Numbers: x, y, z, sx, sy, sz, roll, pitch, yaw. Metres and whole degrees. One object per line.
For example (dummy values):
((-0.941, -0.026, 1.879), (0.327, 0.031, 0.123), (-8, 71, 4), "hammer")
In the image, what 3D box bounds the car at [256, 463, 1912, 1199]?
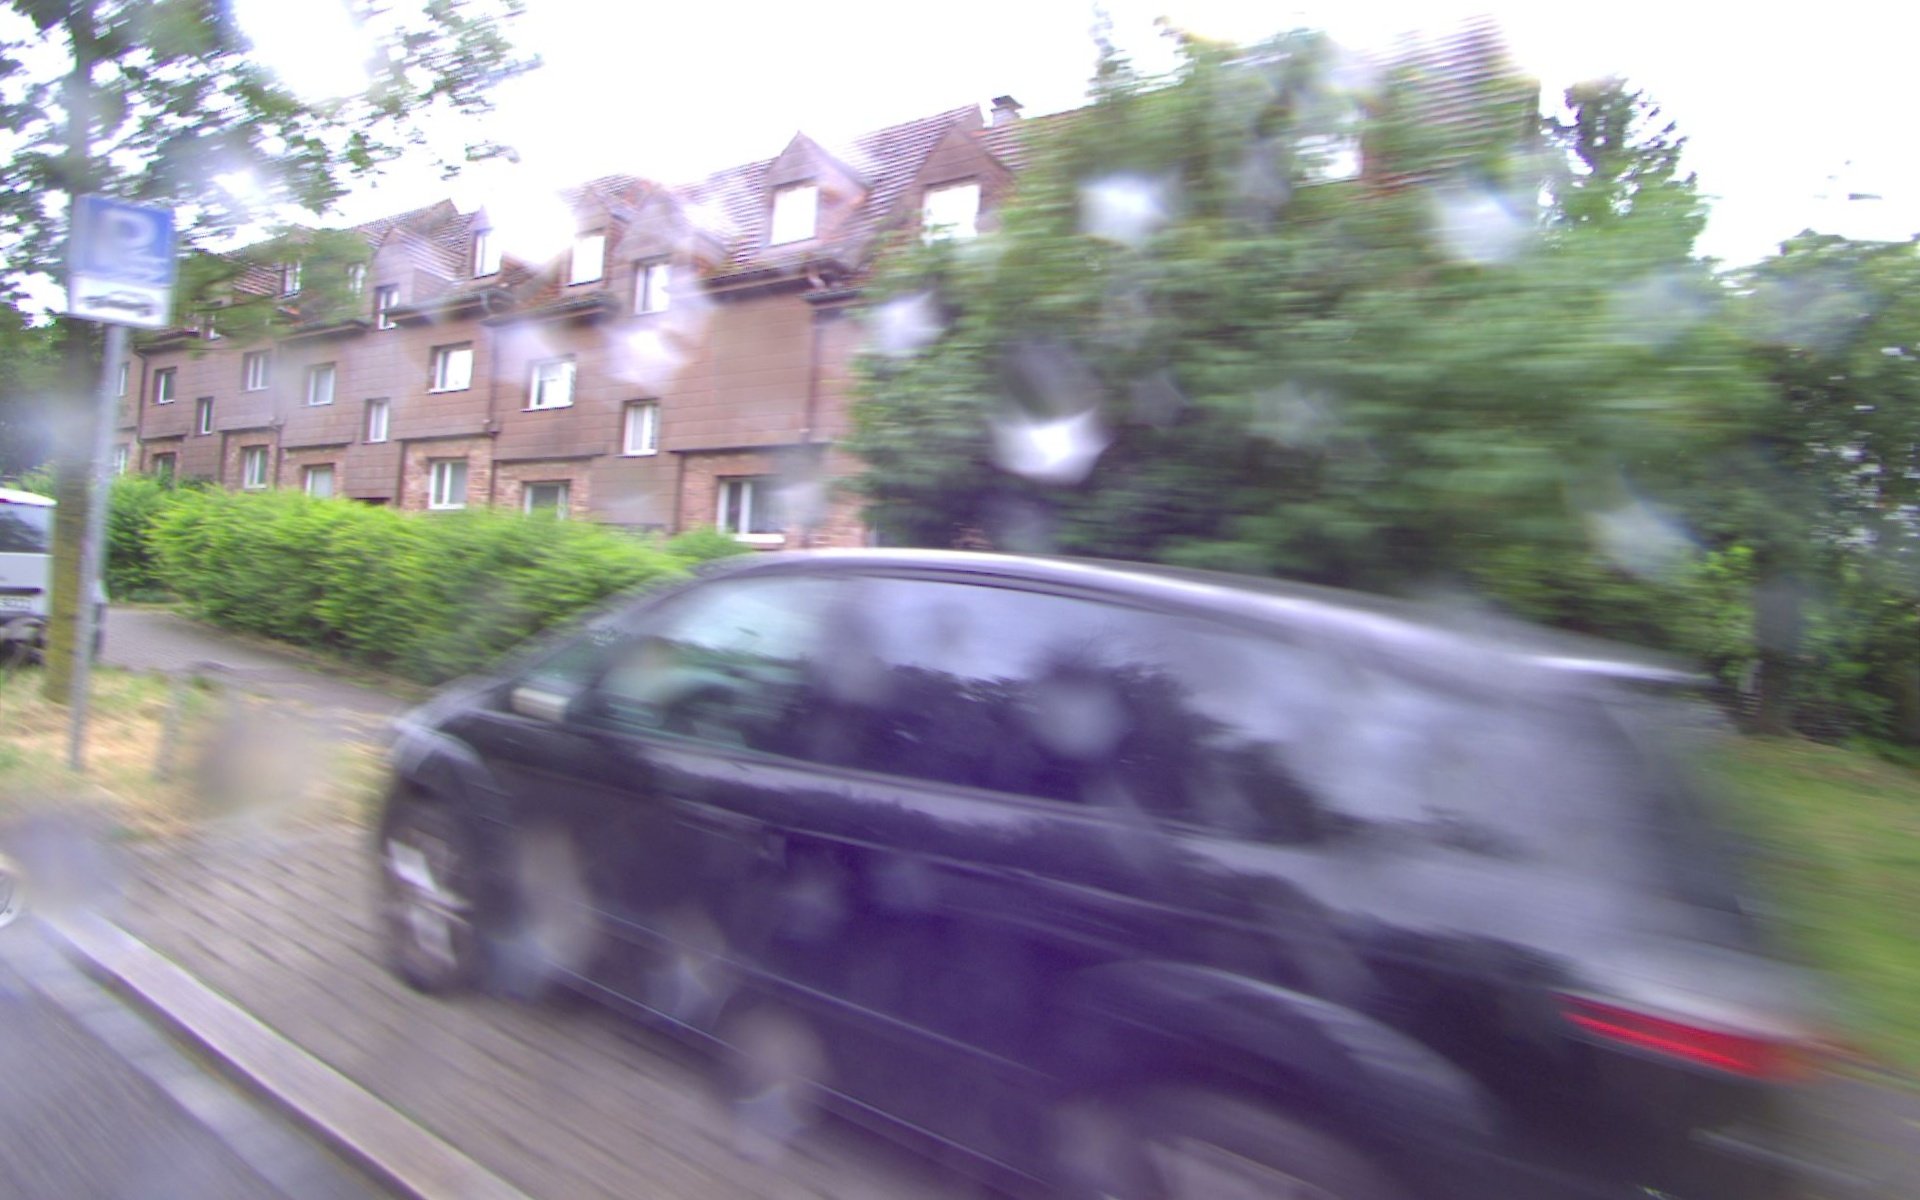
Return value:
((-0.217, 0.597, 3.374), (4.508, 1.700, 1.825), (7, 2, 32), "car")

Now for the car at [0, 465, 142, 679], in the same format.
((-9.093, -0.415, 8.818), (4.403, 1.623, 1.823), (7, 2, 35), "car")
